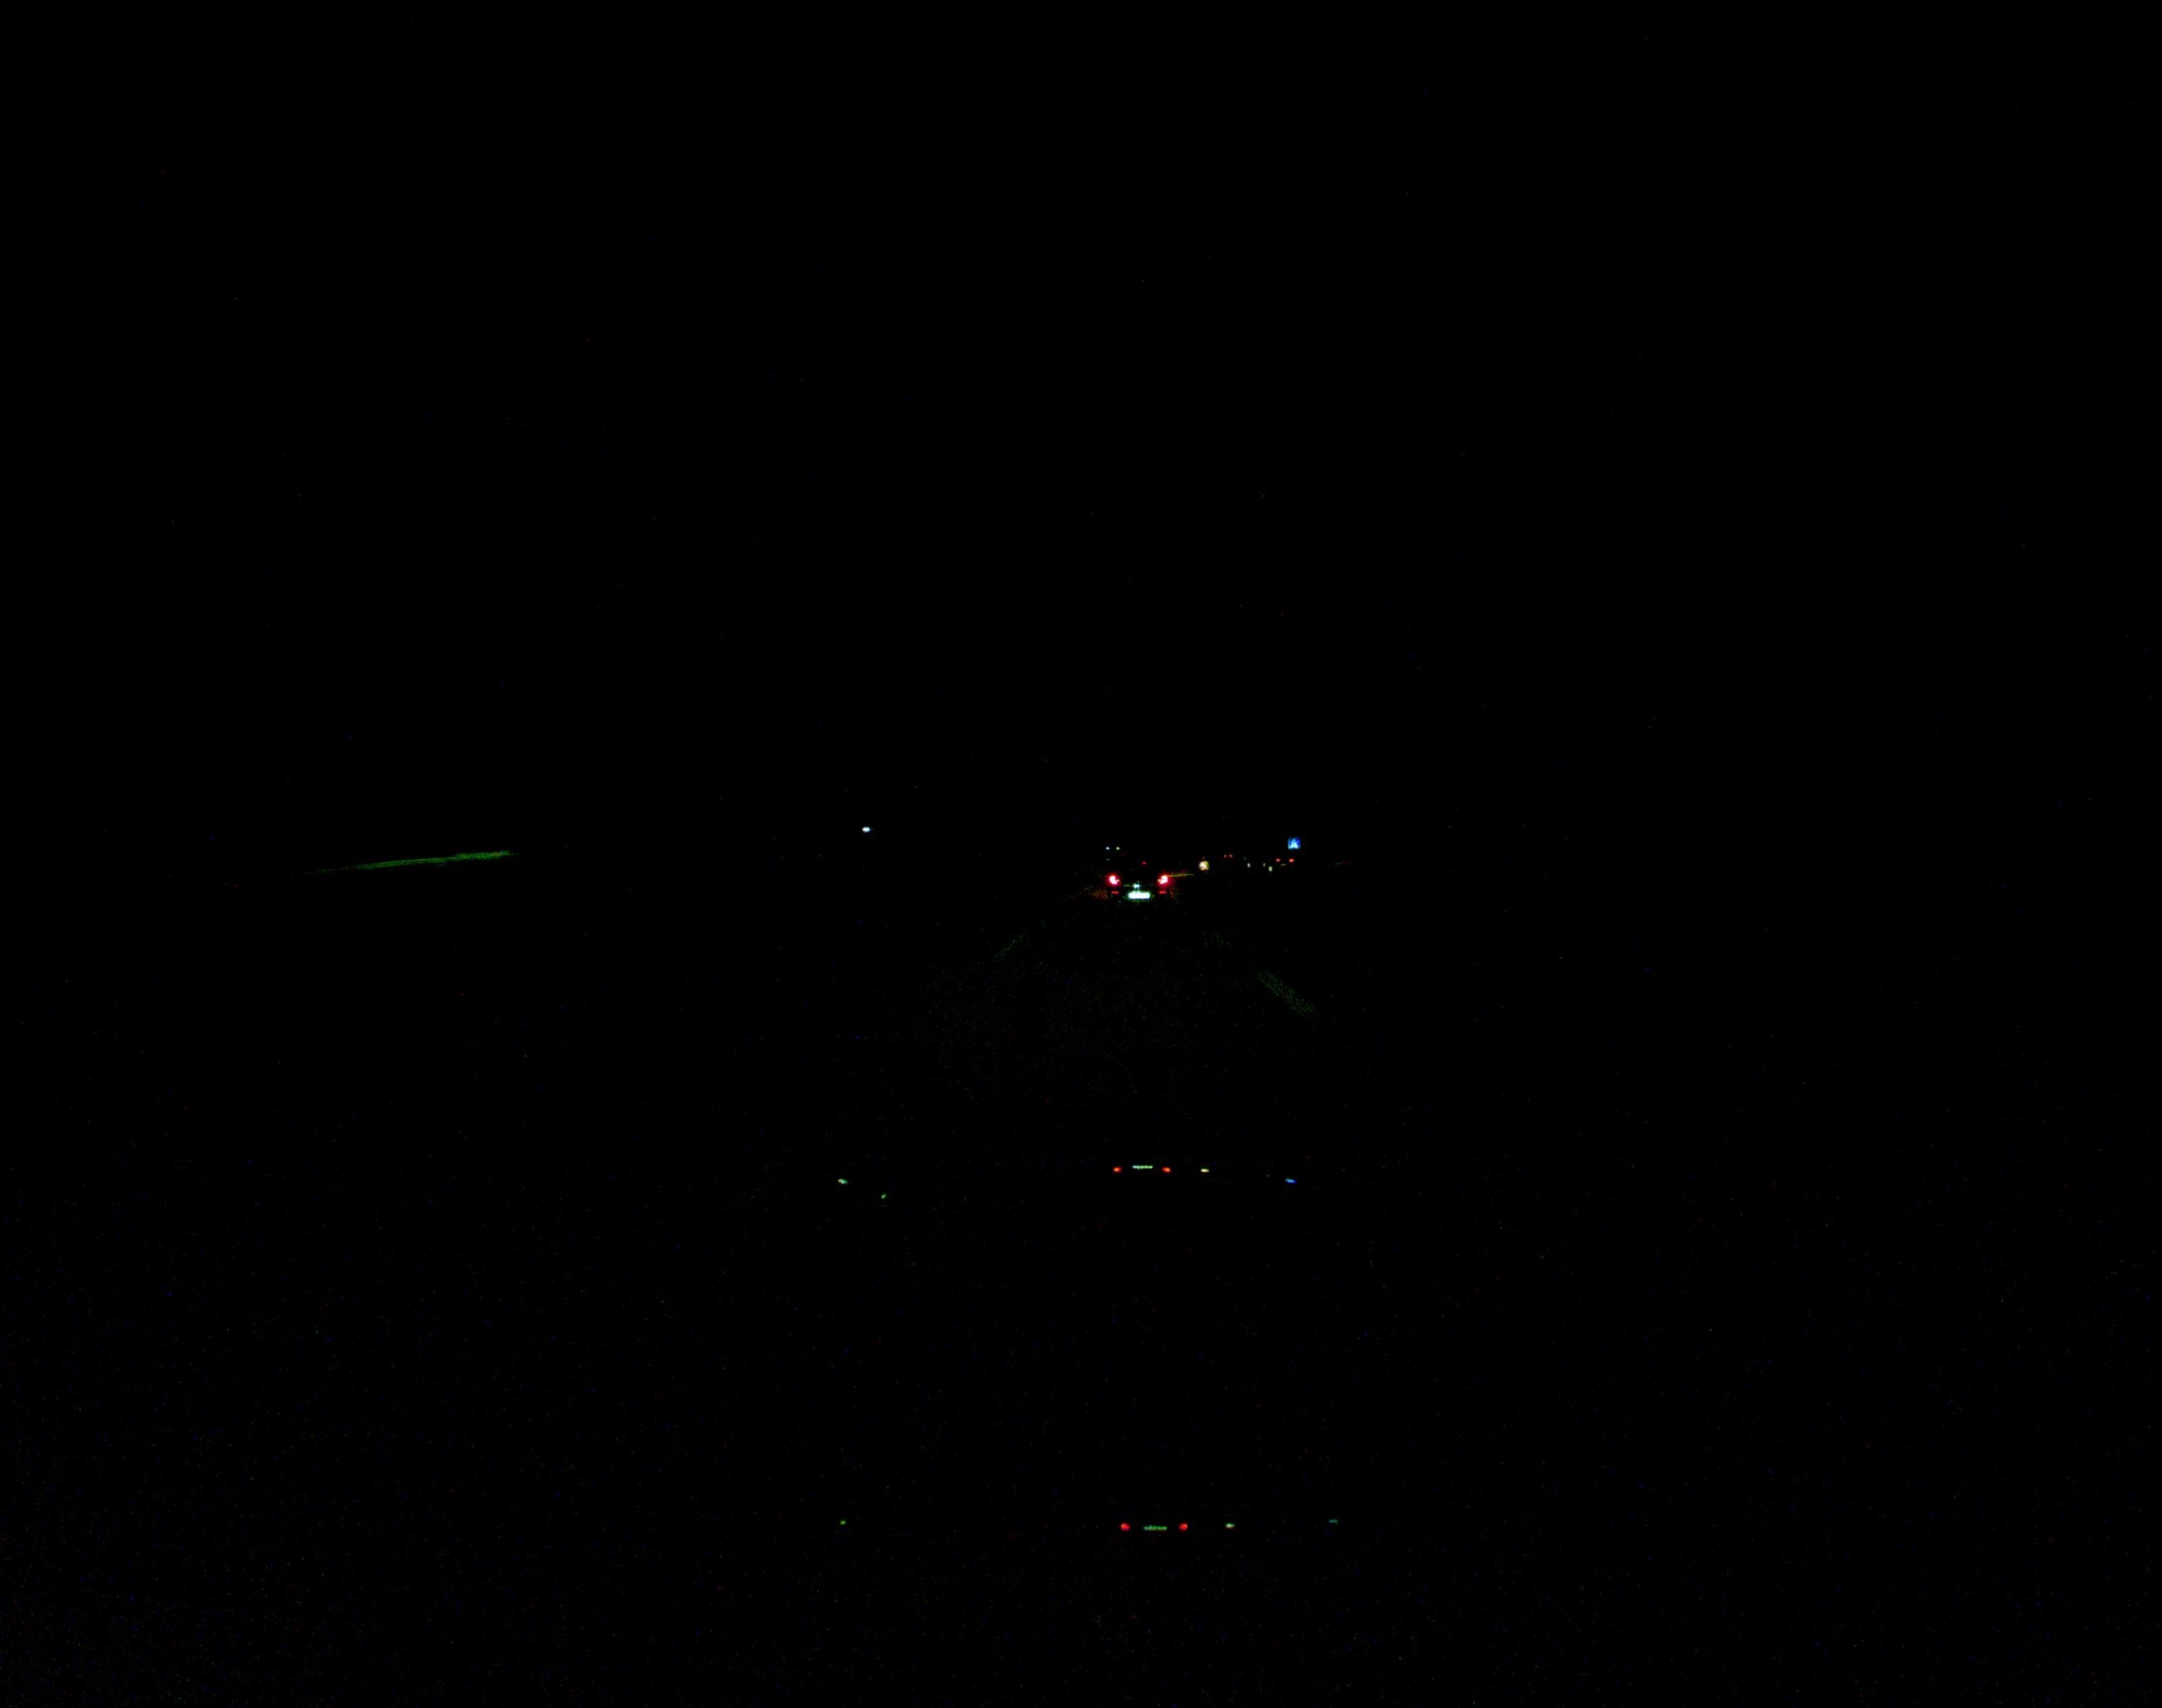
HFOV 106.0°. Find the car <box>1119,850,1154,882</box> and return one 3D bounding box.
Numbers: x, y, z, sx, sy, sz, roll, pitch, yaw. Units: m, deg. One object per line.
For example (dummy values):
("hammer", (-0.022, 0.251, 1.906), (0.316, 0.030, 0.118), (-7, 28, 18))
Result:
("car", (3.183, 0.647, 47.027), (1.898, 1.698, 4.003), (-2, 0, 3))

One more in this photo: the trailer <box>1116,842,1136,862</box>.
("trailer", (9.407, -0.373, 168.751), (2.700, 3.956, 9.074), (-2, 0, 11))

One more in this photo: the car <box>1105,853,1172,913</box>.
("car", (1.515, 0.725, 22.500), (1.583, 1.508, 4.000), (0, 0, 0))

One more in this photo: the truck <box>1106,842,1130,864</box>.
("truck", (7.371, -0.285, 158.960), (2.662, 4.044, 10.691), (-2, 0, 13))

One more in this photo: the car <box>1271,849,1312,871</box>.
("car", (19.210, 0.553, 74.250), (1.913, 1.816, 4.291), (-2, 0, 41))
